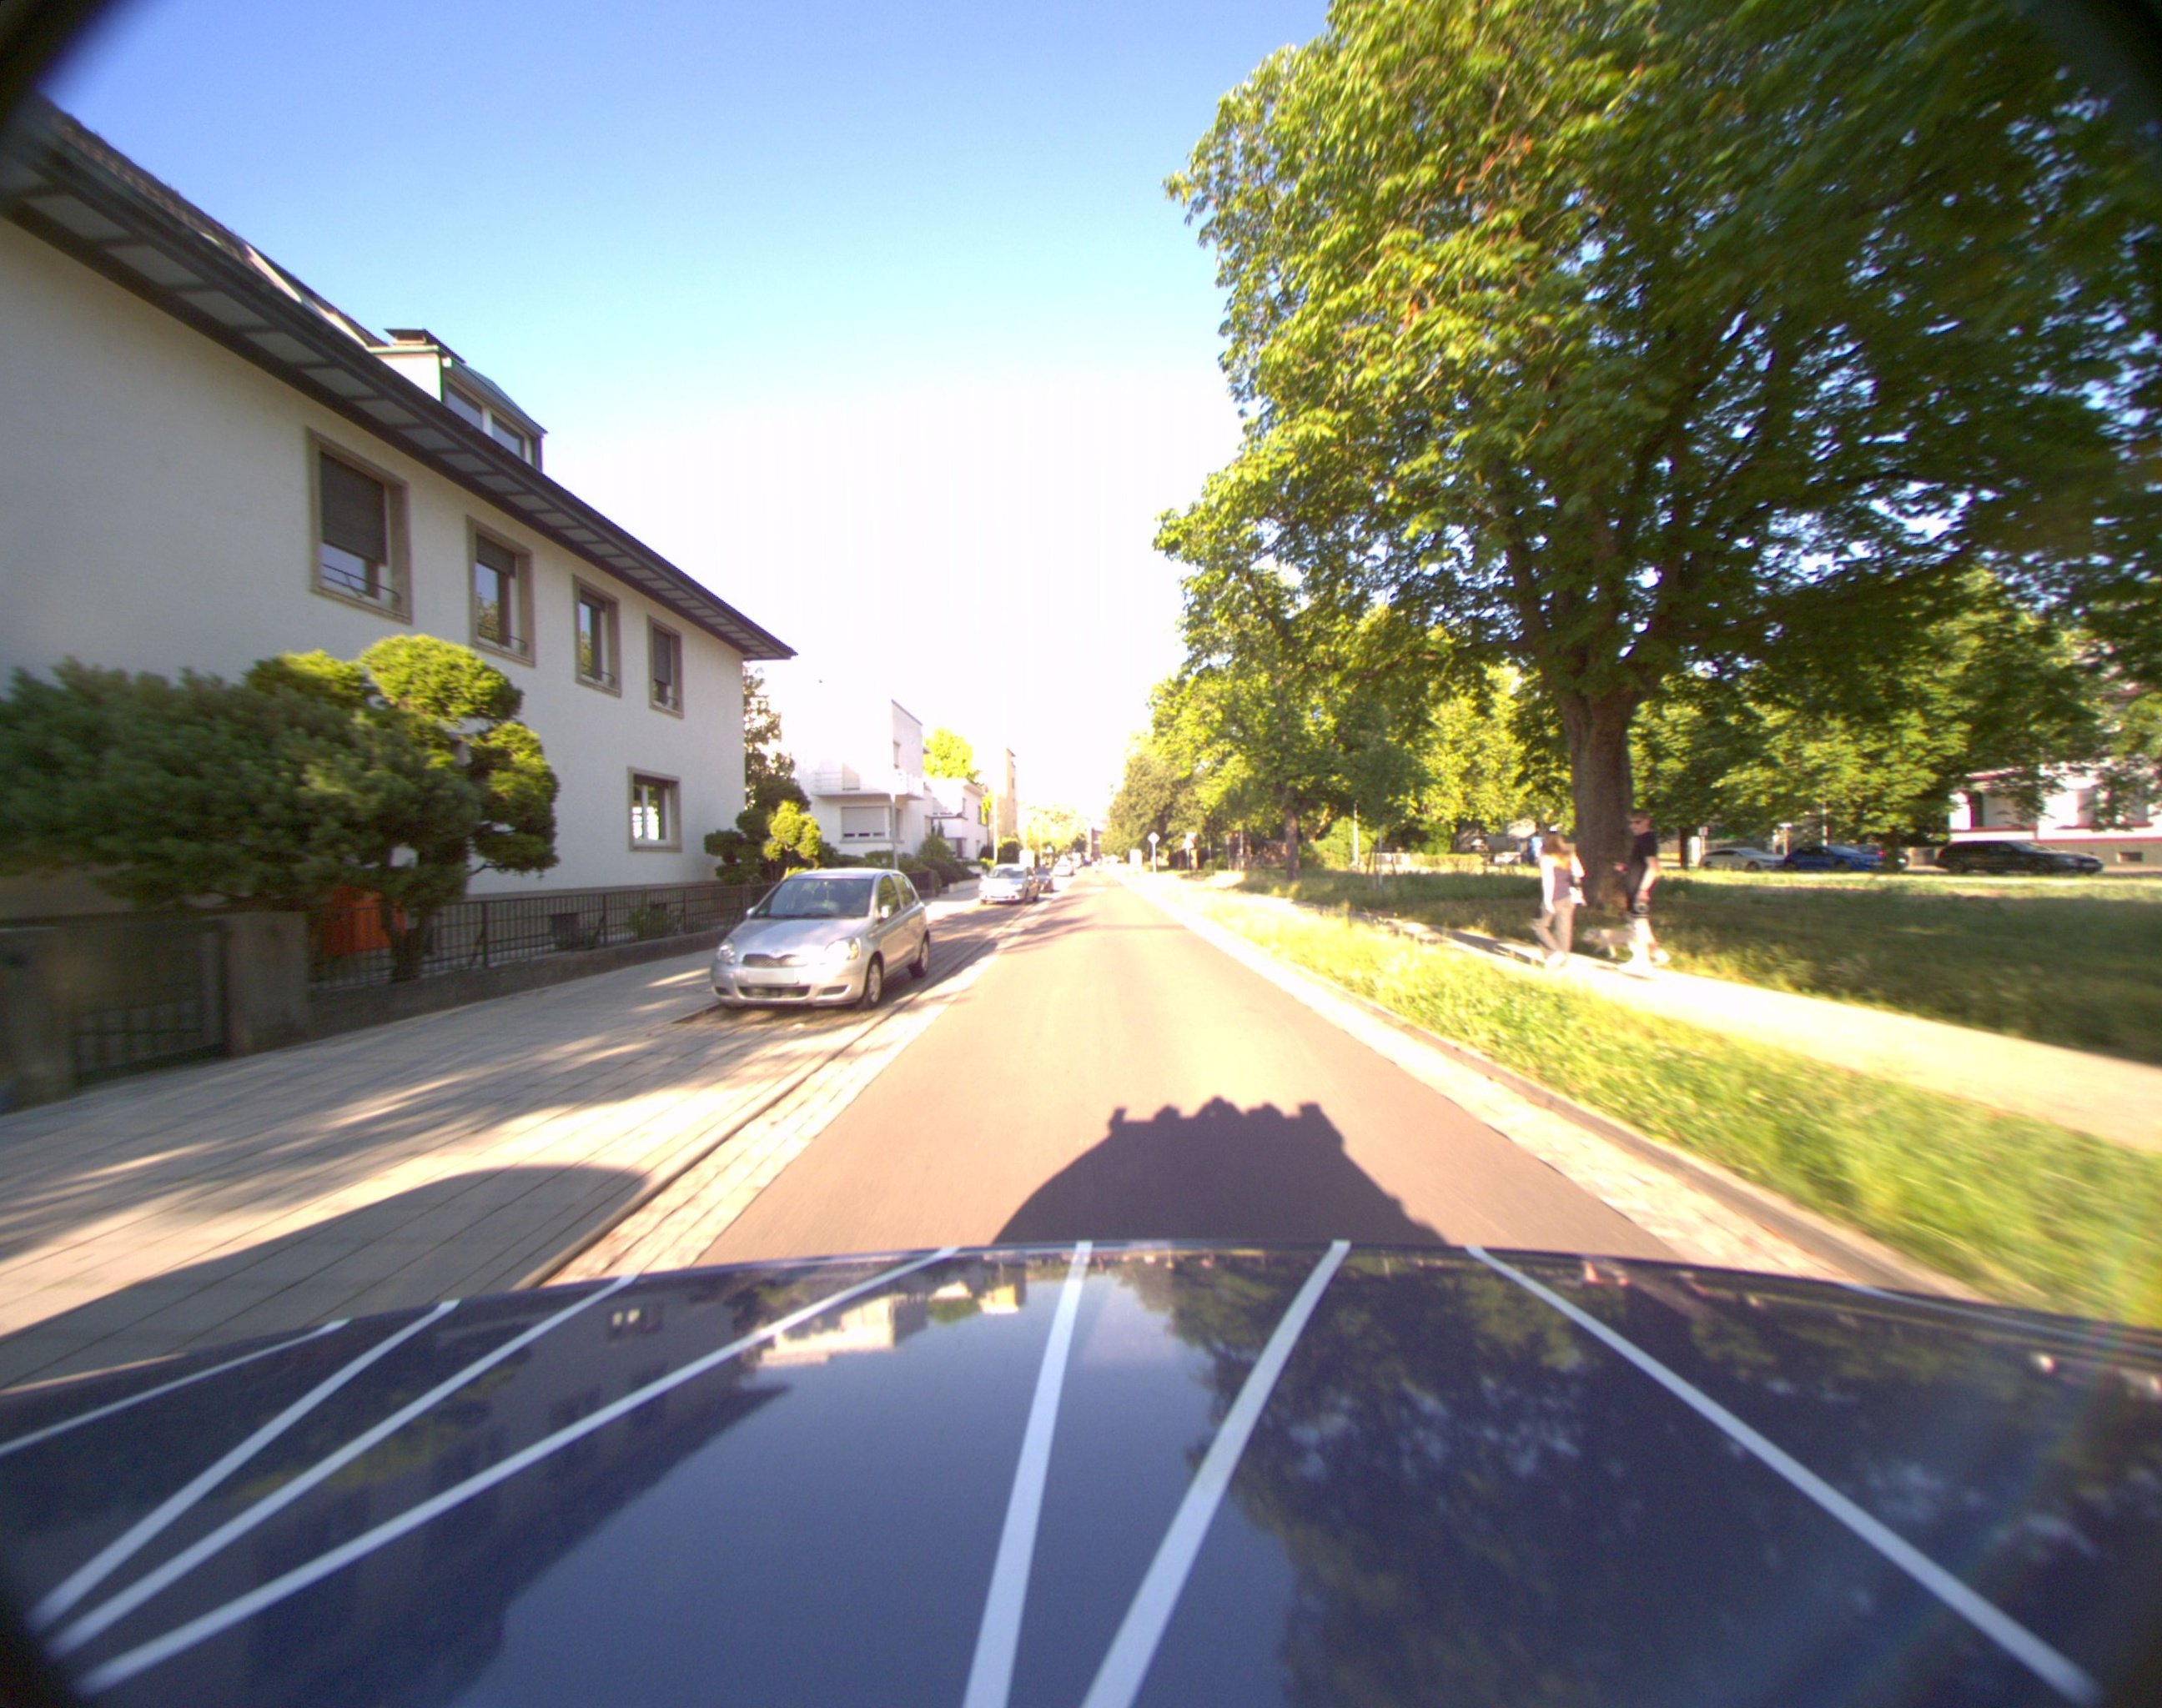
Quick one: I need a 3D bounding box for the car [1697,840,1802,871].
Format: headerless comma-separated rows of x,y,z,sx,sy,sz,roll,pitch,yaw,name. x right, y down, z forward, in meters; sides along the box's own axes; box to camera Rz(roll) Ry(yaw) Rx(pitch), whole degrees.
38.070,0.095,43.438,1.697,1.588,4.756,-2,0,-2,car

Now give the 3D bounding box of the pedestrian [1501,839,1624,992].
5.396,0.659,8.579,0.785,1.605,0.952,-2,0,4,pedestrian

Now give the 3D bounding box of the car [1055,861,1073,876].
-1.702,1.456,76.806,1.567,1.382,4.374,0,0,1,car

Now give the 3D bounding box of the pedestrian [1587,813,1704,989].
6.202,0.497,8.397,0.625,1.820,0.886,-2,0,4,pedestrian

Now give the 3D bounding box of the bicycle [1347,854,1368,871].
20.935,0.631,57.539,1.591,1.180,0.419,-2,1,-22,bicycle

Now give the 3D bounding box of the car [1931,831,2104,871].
37.539,-0.101,30.644,1.697,1.468,4.221,-2,0,-1,car

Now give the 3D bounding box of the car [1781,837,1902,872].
37.972,0.027,38.095,1.697,1.588,4.220,-2,0,-2,car

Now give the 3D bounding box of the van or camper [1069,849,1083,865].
-0.871,0.581,135.774,2.427,2.766,5.952,1,0,0,van or camper

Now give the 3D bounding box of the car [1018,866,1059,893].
-2.211,1.326,40.468,1.779,1.281,4.273,1,-1,1,car

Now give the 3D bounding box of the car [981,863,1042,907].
-2.560,1.130,28.766,1.748,1.465,3.923,1,0,3,car

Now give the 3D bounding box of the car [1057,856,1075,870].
-1.607,0.962,82.663,1.682,1.546,4.130,0,0,2,car

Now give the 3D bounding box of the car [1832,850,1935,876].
43.600,0.457,41.400,1.574,1.324,3.852,-3,0,2,car

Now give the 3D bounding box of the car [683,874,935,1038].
-2.970,1.026,9.130,1.631,1.496,3.633,0,0,2,car
